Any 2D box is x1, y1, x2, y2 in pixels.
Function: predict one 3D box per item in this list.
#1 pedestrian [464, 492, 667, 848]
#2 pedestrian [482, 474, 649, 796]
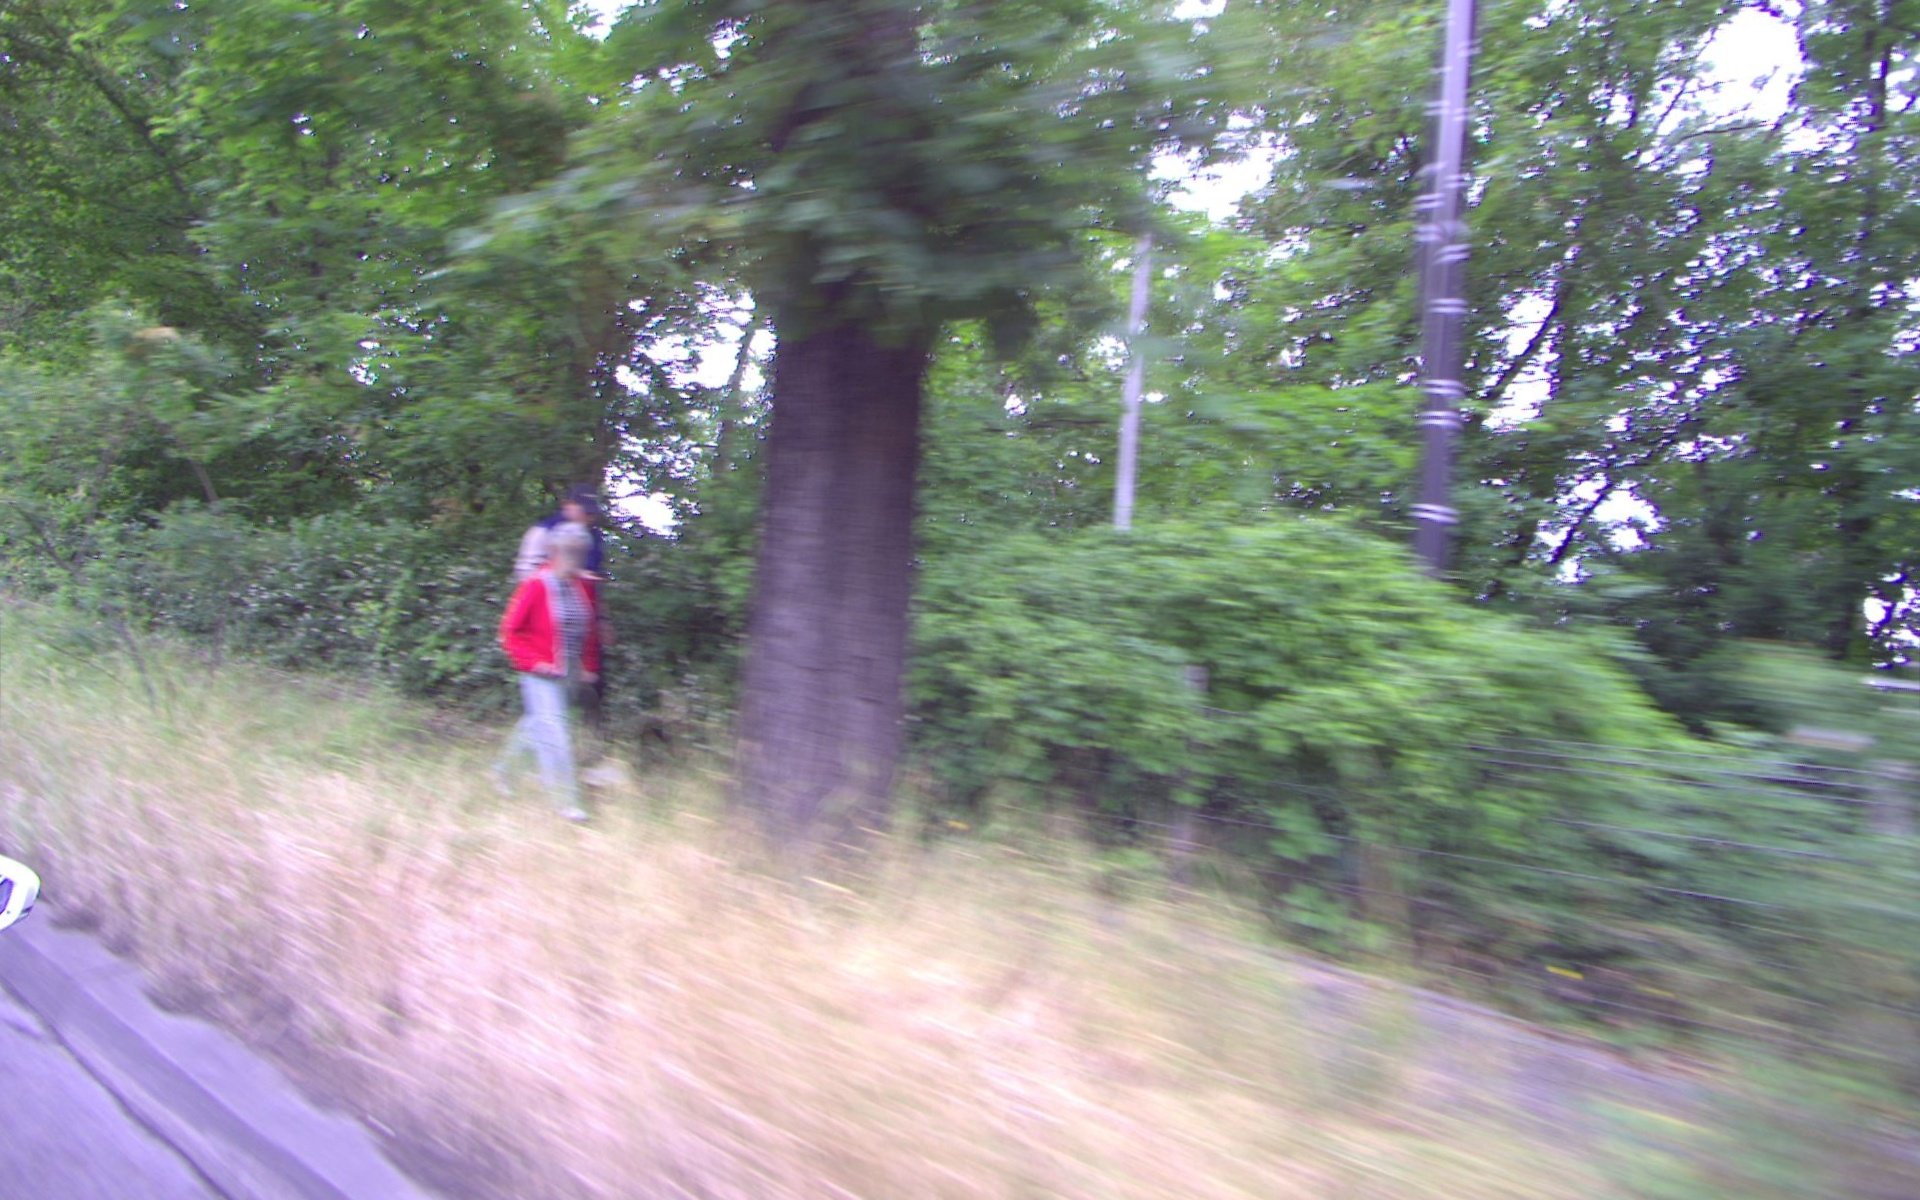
[{"bbox_3d":[-2.063,0.352,5.294,0.539,1.718,0.610,6,-1,29],"label":"pedestrian"},{"bbox_3d":[-2.312,0.201,5.925,0.516,1.774,0.520,6,-1,29],"label":"pedestrian"}]
